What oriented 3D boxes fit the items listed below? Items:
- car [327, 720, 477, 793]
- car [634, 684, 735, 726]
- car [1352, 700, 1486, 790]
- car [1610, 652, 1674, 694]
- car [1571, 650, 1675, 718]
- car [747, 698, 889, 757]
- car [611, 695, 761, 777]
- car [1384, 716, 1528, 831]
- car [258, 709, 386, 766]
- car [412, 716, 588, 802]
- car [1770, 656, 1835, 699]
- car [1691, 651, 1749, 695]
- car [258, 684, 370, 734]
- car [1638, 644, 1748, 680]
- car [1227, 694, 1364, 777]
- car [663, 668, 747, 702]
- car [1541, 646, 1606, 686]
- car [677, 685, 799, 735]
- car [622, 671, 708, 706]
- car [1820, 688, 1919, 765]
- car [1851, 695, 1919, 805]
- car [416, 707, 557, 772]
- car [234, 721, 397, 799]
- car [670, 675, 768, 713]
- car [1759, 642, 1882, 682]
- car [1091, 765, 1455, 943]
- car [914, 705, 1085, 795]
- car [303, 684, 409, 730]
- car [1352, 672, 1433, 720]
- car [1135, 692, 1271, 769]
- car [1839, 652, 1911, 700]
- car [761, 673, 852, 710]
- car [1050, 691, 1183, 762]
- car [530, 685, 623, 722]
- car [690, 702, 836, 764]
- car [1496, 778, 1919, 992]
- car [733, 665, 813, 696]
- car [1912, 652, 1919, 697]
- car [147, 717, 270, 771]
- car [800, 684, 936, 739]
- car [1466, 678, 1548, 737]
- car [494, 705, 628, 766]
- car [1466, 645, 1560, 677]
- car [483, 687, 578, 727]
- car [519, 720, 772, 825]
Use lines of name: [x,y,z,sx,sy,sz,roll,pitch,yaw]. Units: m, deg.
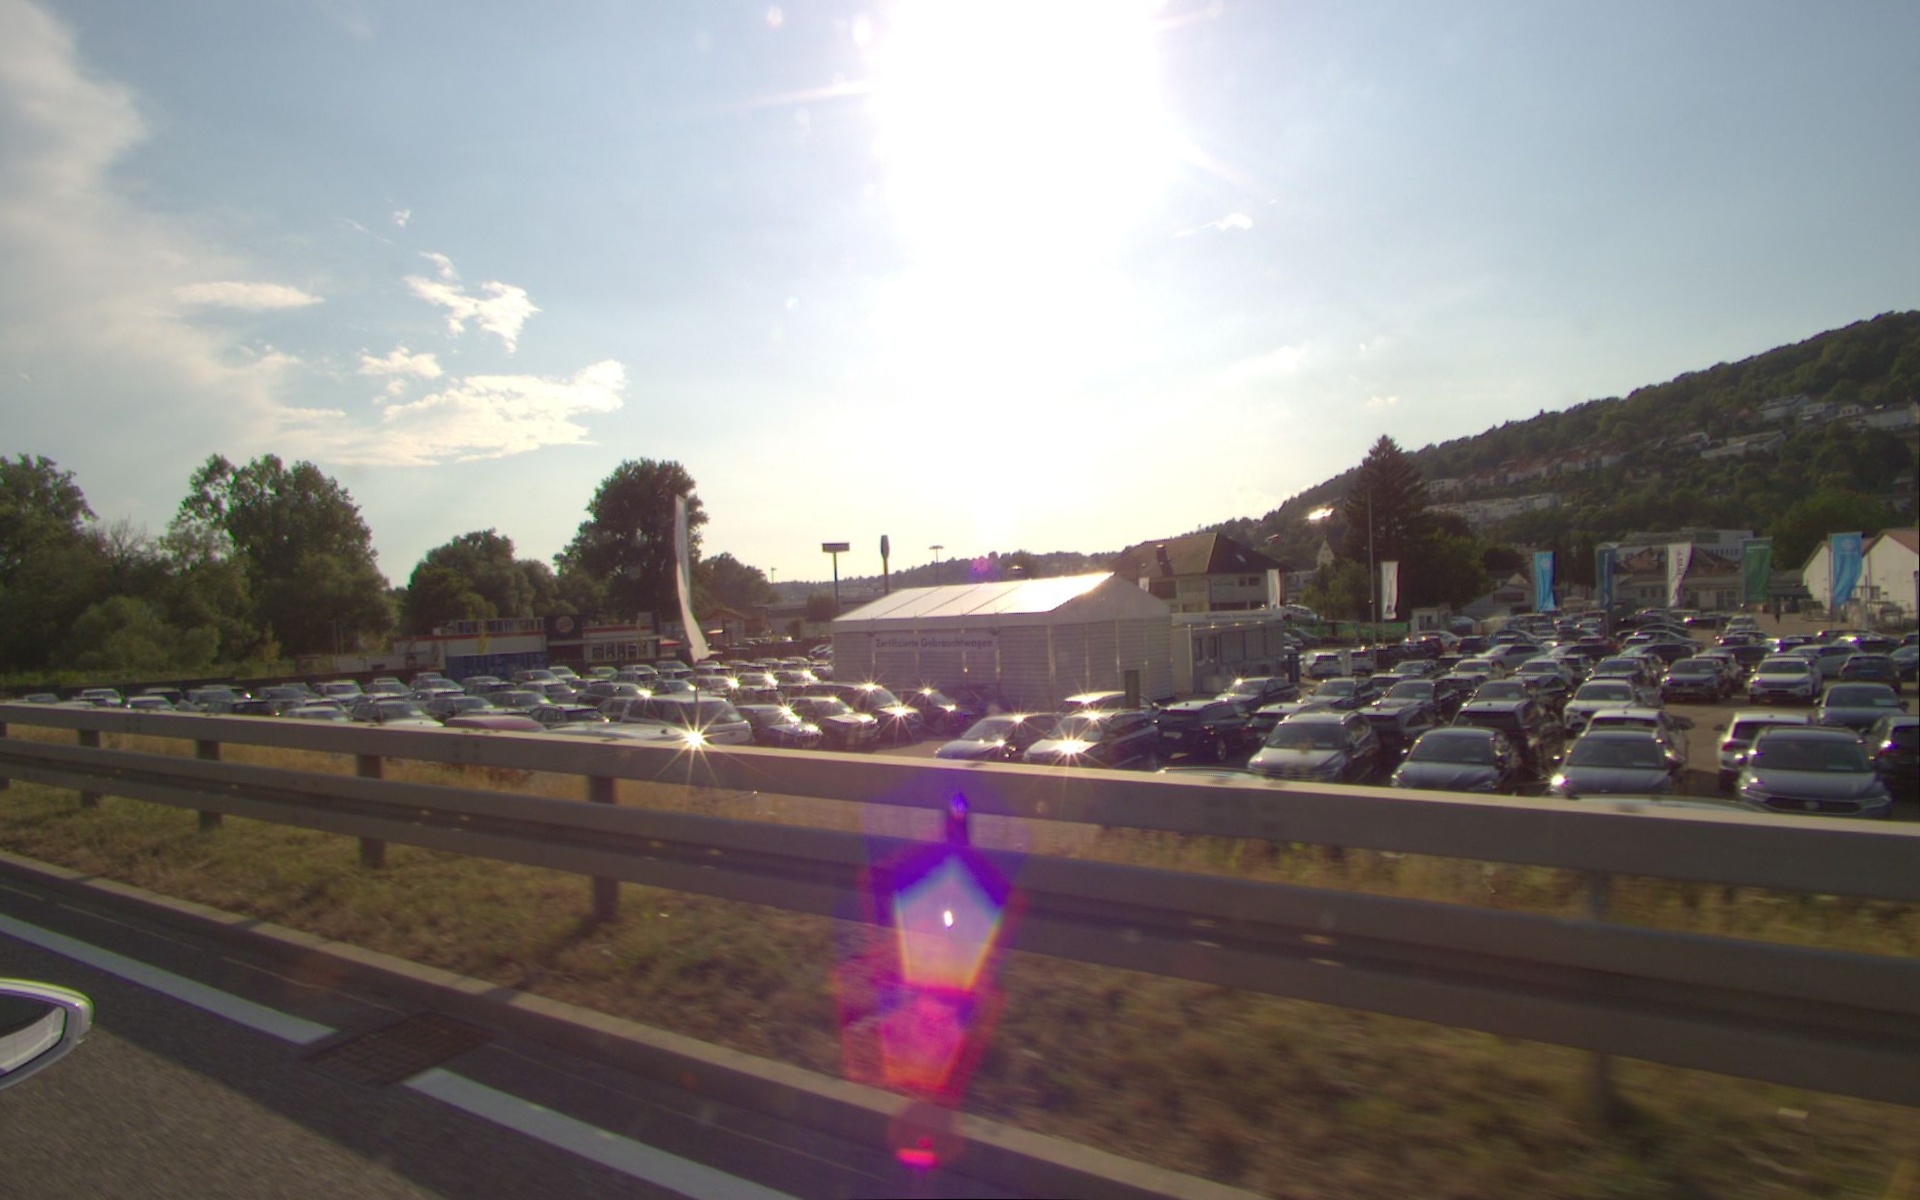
car: [-15.780,4.335,28.223,4.669,1.656,1.874,-4,-3,36]
car: [-12.258,4.627,44.487,4.671,1.656,1.873,-4,-3,37]
car: [11.064,3.359,23.983,1.864,1.656,4.408,-3,-3,39]
car: [29.866,3.165,43.808,1.739,1.661,3.931,-4,-3,43]
car: [22.149,2.737,33.414,3.960,2.039,1.982,1,-3,-43]
car: [-4.563,3.971,31.726,4.679,1.541,1.870,-4,-3,42]
car: [-7.827,3.757,28.348,4.679,1.955,1.870,-4,-3,42]
car: [9.130,3.060,18.313,1.610,1.593,3.461,-3,-3,39]
car: [-21.645,4.590,33.899,4.664,1.656,1.876,-3,-3,33]
car: [-11.114,3.727,24.067,4.671,1.646,1.873,-4,-3,37]
car: [33.545,3.066,39.946,1.810,1.521,3.971,-3,-3,39]
car: [31.792,3.016,41.853,1.736,1.661,3.936,-3,-3,39]
car: [-25.102,4.206,38.888,4.600,1.737,1.833,-3,-3,31]
car: [37.261,3.131,50.949,4.355,1.656,1.886,-1,-2,-8]
car: [8.629,3.361,25.526,1.864,1.656,4.408,-3,-3,39]
car: [-13.783,4.570,54.010,4.671,1.656,1.874,-4,-3,37]
car: [27.722,2.968,45.216,1.739,1.661,3.931,-4,-3,43]
car: [-8.366,4.071,37.498,4.671,1.656,1.873,-4,-3,37]
car: [-15.488,4.621,52.463,4.671,1.656,1.874,-4,-3,37]
car: [22.678,3.090,25.049,1.610,1.593,3.461,-3,-3,39]
car: [18.204,2.741,18.817,1.864,1.656,4.408,-3,-3,39]
car: [-14.560,4.206,30.713,4.668,1.656,1.875,-4,-3,35]
car: [-16.937,4.117,26.255,4.665,1.646,1.876,-3,-3,33]
car: [-11.285,4.363,46.758,4.671,1.656,1.873,-4,-3,37]
car: [39.957,2.865,46.539,4.355,1.656,1.886,-1,-2,-8]
car: [4.040,3.168,13.170,4.250,1.646,1.735,-3,-3,31]
car: [1.052,3.533,24.287,1.864,1.656,4.408,-3,-3,39]
car: [-24.556,4.309,40.671,4.666,1.656,1.876,-3,-3,34]
car: [16.490,3.616,38.115,3.454,1.593,1.613,1,-3,-45]
car: [6.639,3.432,27.058,1.864,1.656,4.408,-3,-3,39]
car: [35.101,2.902,38.505,1.736,1.661,3.936,-3,-3,39]
car: [-7.697,4.545,49.980,4.517,1.656,1.873,-4,-3,37]
car: [4.604,3.584,28.999,1.864,1.656,4.408,-3,-3,39]
car: [-18.607,4.981,48.473,4.667,1.656,1.875,-3,-3,34]
car: [-5.983,3.937,30.120,4.679,1.541,1.870,-4,-3,42]
car: [8.224,2.932,10.788,4.247,1.646,1.736,-3,-3,29]
car: [-10.853,4.683,58.019,4.671,1.656,1.874,-4,-3,37]
car: [36.781,2.798,37.135,1.736,1.661,3.936,-3,-3,39]
car: [-27.334,5.178,36.384,4.662,1.671,1.996,-3,-3,31]
car: [-3.165,3.696,33.783,4.679,1.656,1.870,-4,-3,42]
car: [17.181,3.309,31.372,1.610,1.593,3.461,-3,-3,39]
car: [-12.899,4.297,32.223,4.671,1.656,1.873,-4,-3,37]
car: [31.397,3.476,56.910,4.355,1.656,1.886,-1,-2,-8]
car: [-19.784,4.861,46.043,4.669,1.656,1.874,-4,-3,36]
car: [-6.081,3.214,19.260,4.657,1.646,1.879,-3,-3,27]
